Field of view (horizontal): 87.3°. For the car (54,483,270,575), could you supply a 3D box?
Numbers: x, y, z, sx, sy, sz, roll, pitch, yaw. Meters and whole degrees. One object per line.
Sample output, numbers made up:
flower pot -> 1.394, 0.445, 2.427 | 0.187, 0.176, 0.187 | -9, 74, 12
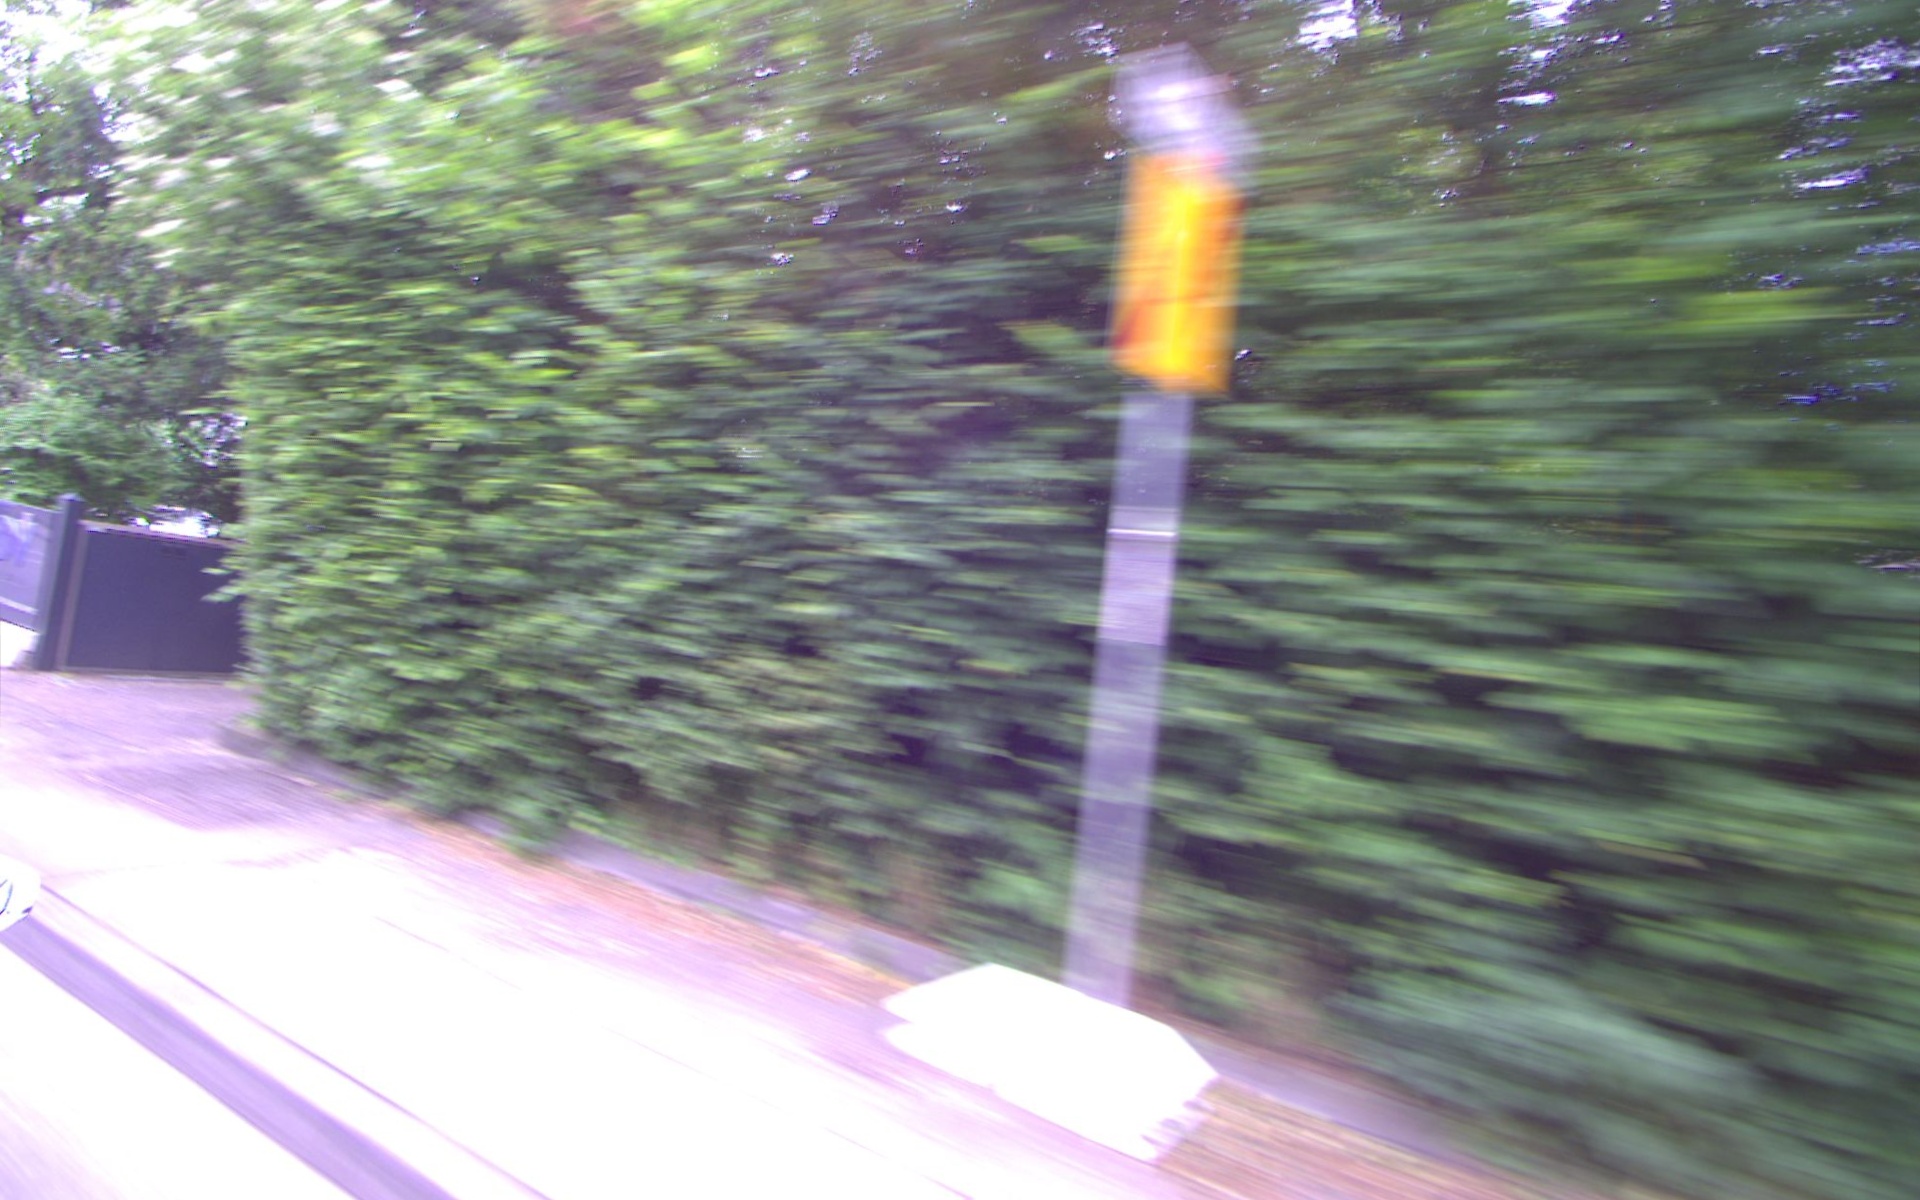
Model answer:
car -> -19.912, -1.733, 25.252 | 3.975, 1.480, 1.978 | 11, -3, -40

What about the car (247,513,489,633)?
car -> -9.502, -0.389, 16.327 | 1.327, 1.469, 2.997 | 7, -1, 33
